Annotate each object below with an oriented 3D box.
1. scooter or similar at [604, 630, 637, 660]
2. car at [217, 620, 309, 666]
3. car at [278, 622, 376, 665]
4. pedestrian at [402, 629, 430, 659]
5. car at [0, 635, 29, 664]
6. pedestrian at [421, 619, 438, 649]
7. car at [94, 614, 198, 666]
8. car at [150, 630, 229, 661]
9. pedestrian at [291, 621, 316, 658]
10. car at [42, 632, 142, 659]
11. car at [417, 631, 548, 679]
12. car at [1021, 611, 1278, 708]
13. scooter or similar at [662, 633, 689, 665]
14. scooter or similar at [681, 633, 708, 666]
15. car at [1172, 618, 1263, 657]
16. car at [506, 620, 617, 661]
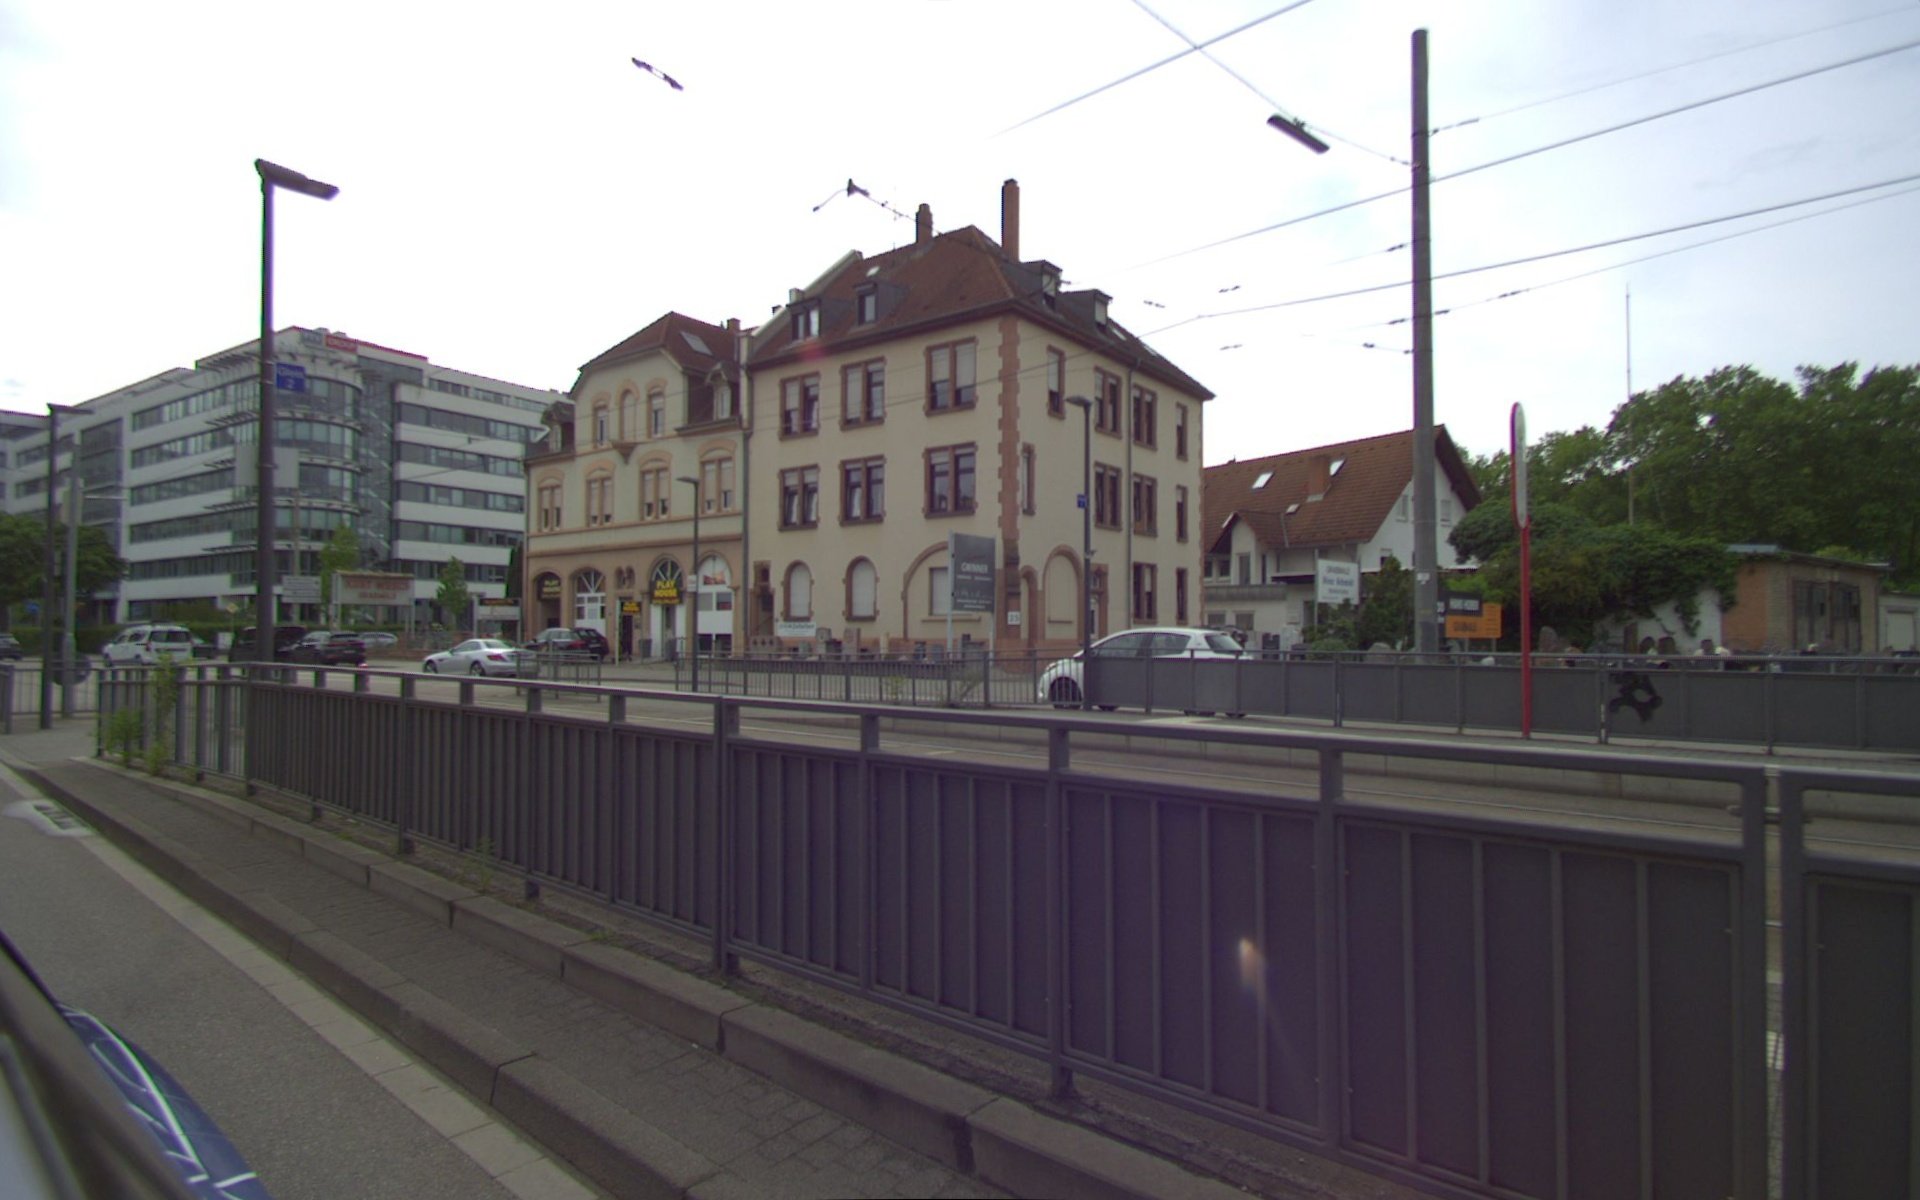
[{"bbox_3d":[-13.552,1.788,40.435,0.526,1.110,1.165,-1,1,32],"label":"scooter or similar"},{"bbox_3d":[-33.214,2.001,48.201,5.174,2.029,1.969,-1,0,36],"label":"car"},{"bbox_3d":[-28.139,1.939,44.950,4.523,1.762,2.020,-2,-1,34],"label":"car"},{"bbox_3d":[-37.241,3.014,69.267,1.180,2.029,1.207,-1,-2,22],"label":"pedestrian"},{"bbox_3d":[-49.464,2.496,51.494,4.407,1.439,1.868,-1,-3,31],"label":"car"},{"bbox_3d":[-31.610,2.007,60.315,0.761,1.787,0.628,-1,-1,40],"label":"pedestrian"},{"bbox_3d":[-32.959,1.615,40.950,4.509,2.004,1.870,-1,-3,32],"label":"car"},{"bbox_3d":[-41.852,2.492,55.075,1.766,1.542,4.150,2,-3,-12],"label":"car"},{"bbox_3d":[-33.889,2.023,52.218,1.058,1.839,0.796,-1,-1,38],"label":"pedestrian"},{"bbox_3d":[-49.028,2.570,57.215,3.924,1.462,1.819,1,-2,-8],"label":"car"},{"bbox_3d":[-14.140,1.587,29.906,3.821,1.309,1.736,-1,-2,33],"label":"car"},{"bbox_3d":[3.234,1.012,17.522,3.993,1.497,1.847,-1,-5,37],"label":"car"},{"bbox_3d":[-10.092,1.733,35.931,0.521,1.110,1.175,-1,-1,7],"label":"scooter or similar"},{"bbox_3d":[-9.328,1.723,35.619,0.521,1.110,1.175,-1,-1,7],"label":"scooter or similar"},{"bbox_3d":[10.011,1.420,39.223,3.820,1.424,1.694,0,-1,-45],"label":"car"},{"bbox_3d":[-16.596,1.631,42.032,4.893,1.504,1.976,-1,2,37],"label":"car"}]
